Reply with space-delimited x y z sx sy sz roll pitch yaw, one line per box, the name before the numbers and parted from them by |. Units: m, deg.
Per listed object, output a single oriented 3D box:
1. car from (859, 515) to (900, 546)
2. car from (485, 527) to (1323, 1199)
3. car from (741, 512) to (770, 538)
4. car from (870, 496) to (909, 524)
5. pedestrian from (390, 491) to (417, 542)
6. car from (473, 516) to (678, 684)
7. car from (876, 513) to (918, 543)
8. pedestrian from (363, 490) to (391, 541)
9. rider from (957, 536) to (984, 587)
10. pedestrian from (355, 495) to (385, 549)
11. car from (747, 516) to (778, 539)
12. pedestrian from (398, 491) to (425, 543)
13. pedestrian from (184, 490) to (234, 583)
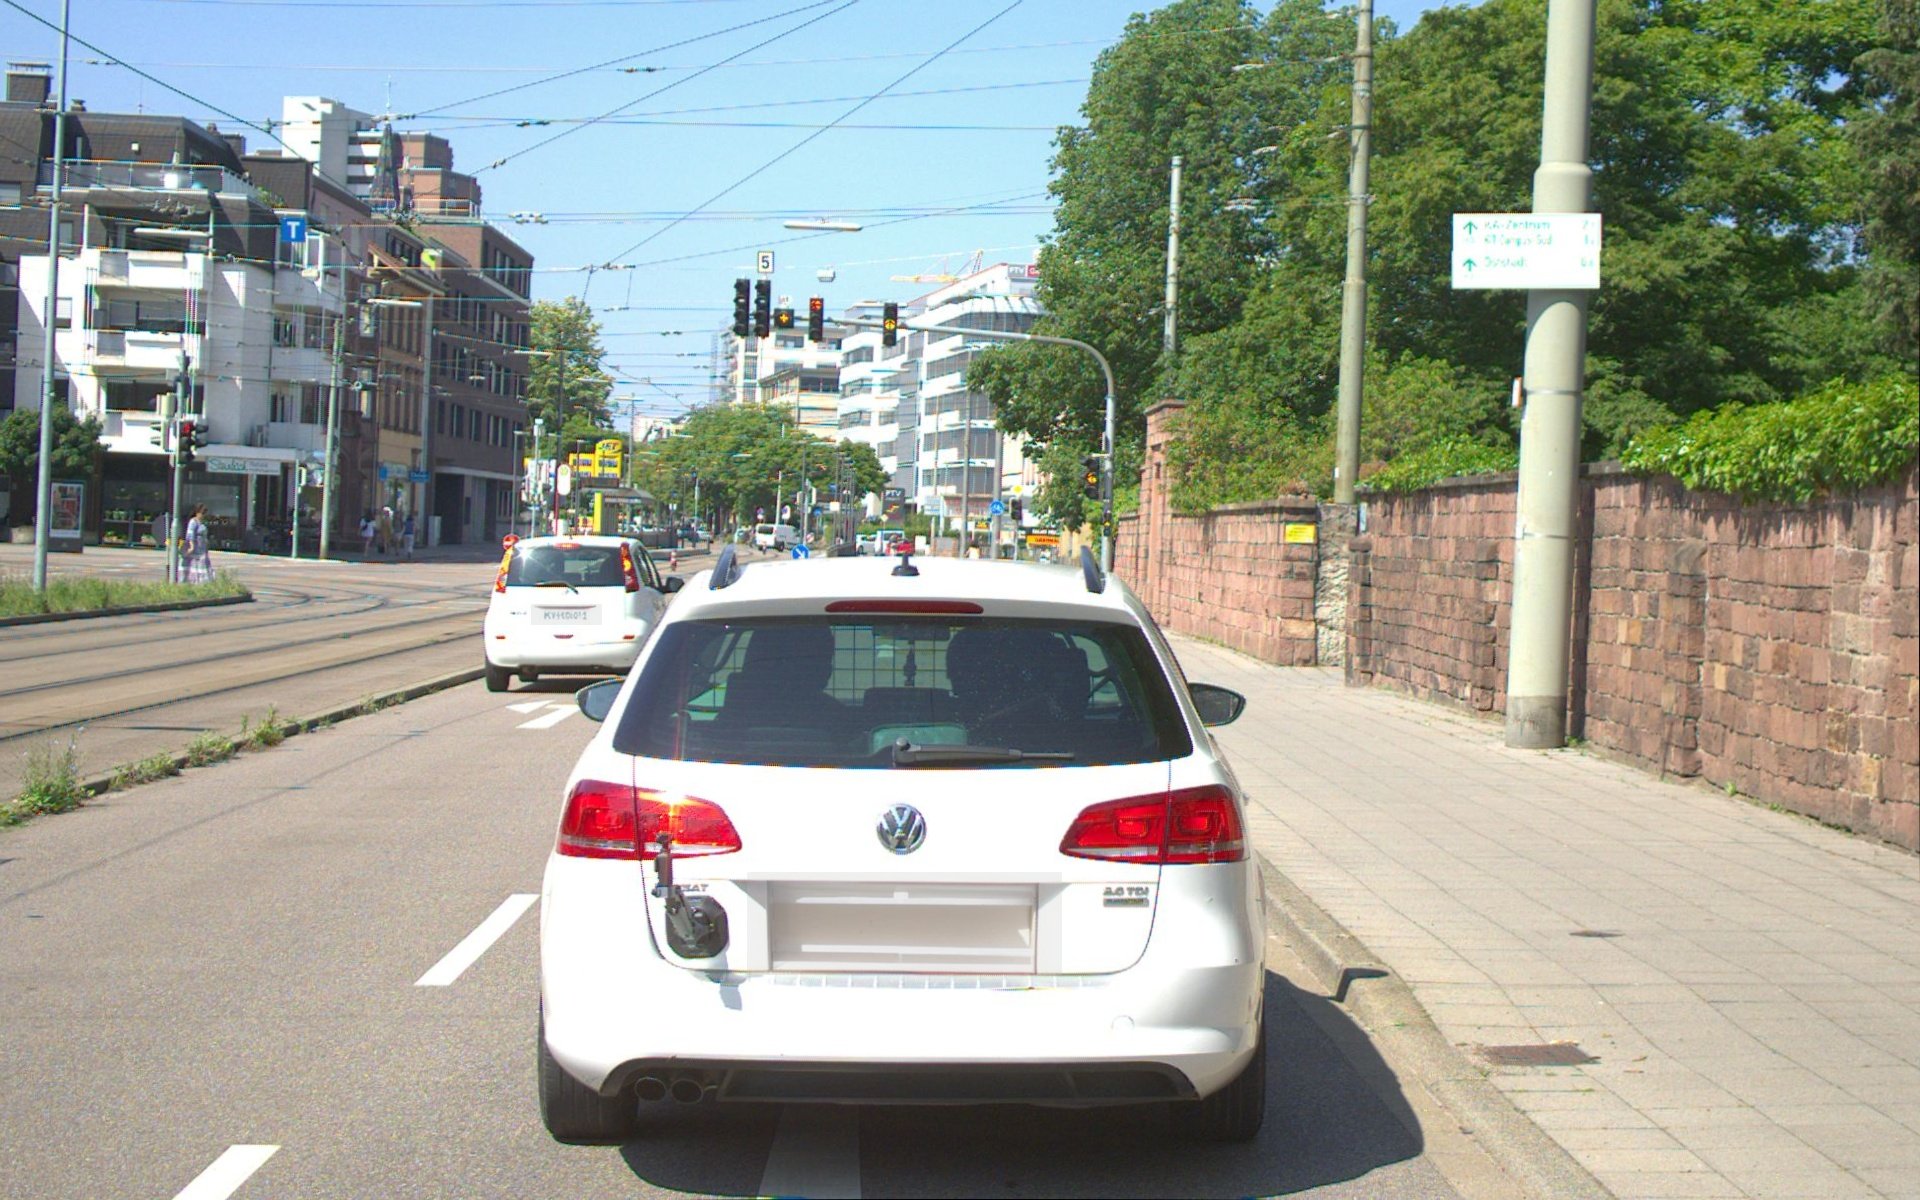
car | -5.312 -4.595 226.699 1.993 1.897 4.001 2 1 -11
car | -0.124 0.559 9.280 1.778 1.485 3.847 1 1 0
car | -12.840 -4.706 216.204 1.698 1.585 3.535 2 1 -2
car | -5.276 -6.734 257.143 1.993 2.007 4.002 2 1 -14
pedestrian | -22.311 -3.356 137.903 0.936 2.007 0.991 2 1 -6
car | -3.907 -0.048 35.473 1.730 1.590 4.011 2 1 -1
car | -4.444 -5.100 242.738 1.993 2.007 4.002 2 1 -14
pedestrian | -23.126 -3.354 136.391 0.936 2.007 0.991 2 1 -5
rider | 0.360 -1.375 121.945 0.891 1.722 2.204 2 1 0
pedestrian | -22.267 -2.943 129.737 0.936 2.007 0.991 2 1 -4
car | -14.062 -5.154 244.618 1.698 1.585 3.536 2 1 -11
pedestrian | -21.566 -3.272 135.289 0.936 2.007 0.991 2 1 -6
pedestrian | -14.210 -1.204 65.073 0.826 1.733 0.932 2 1 -8
